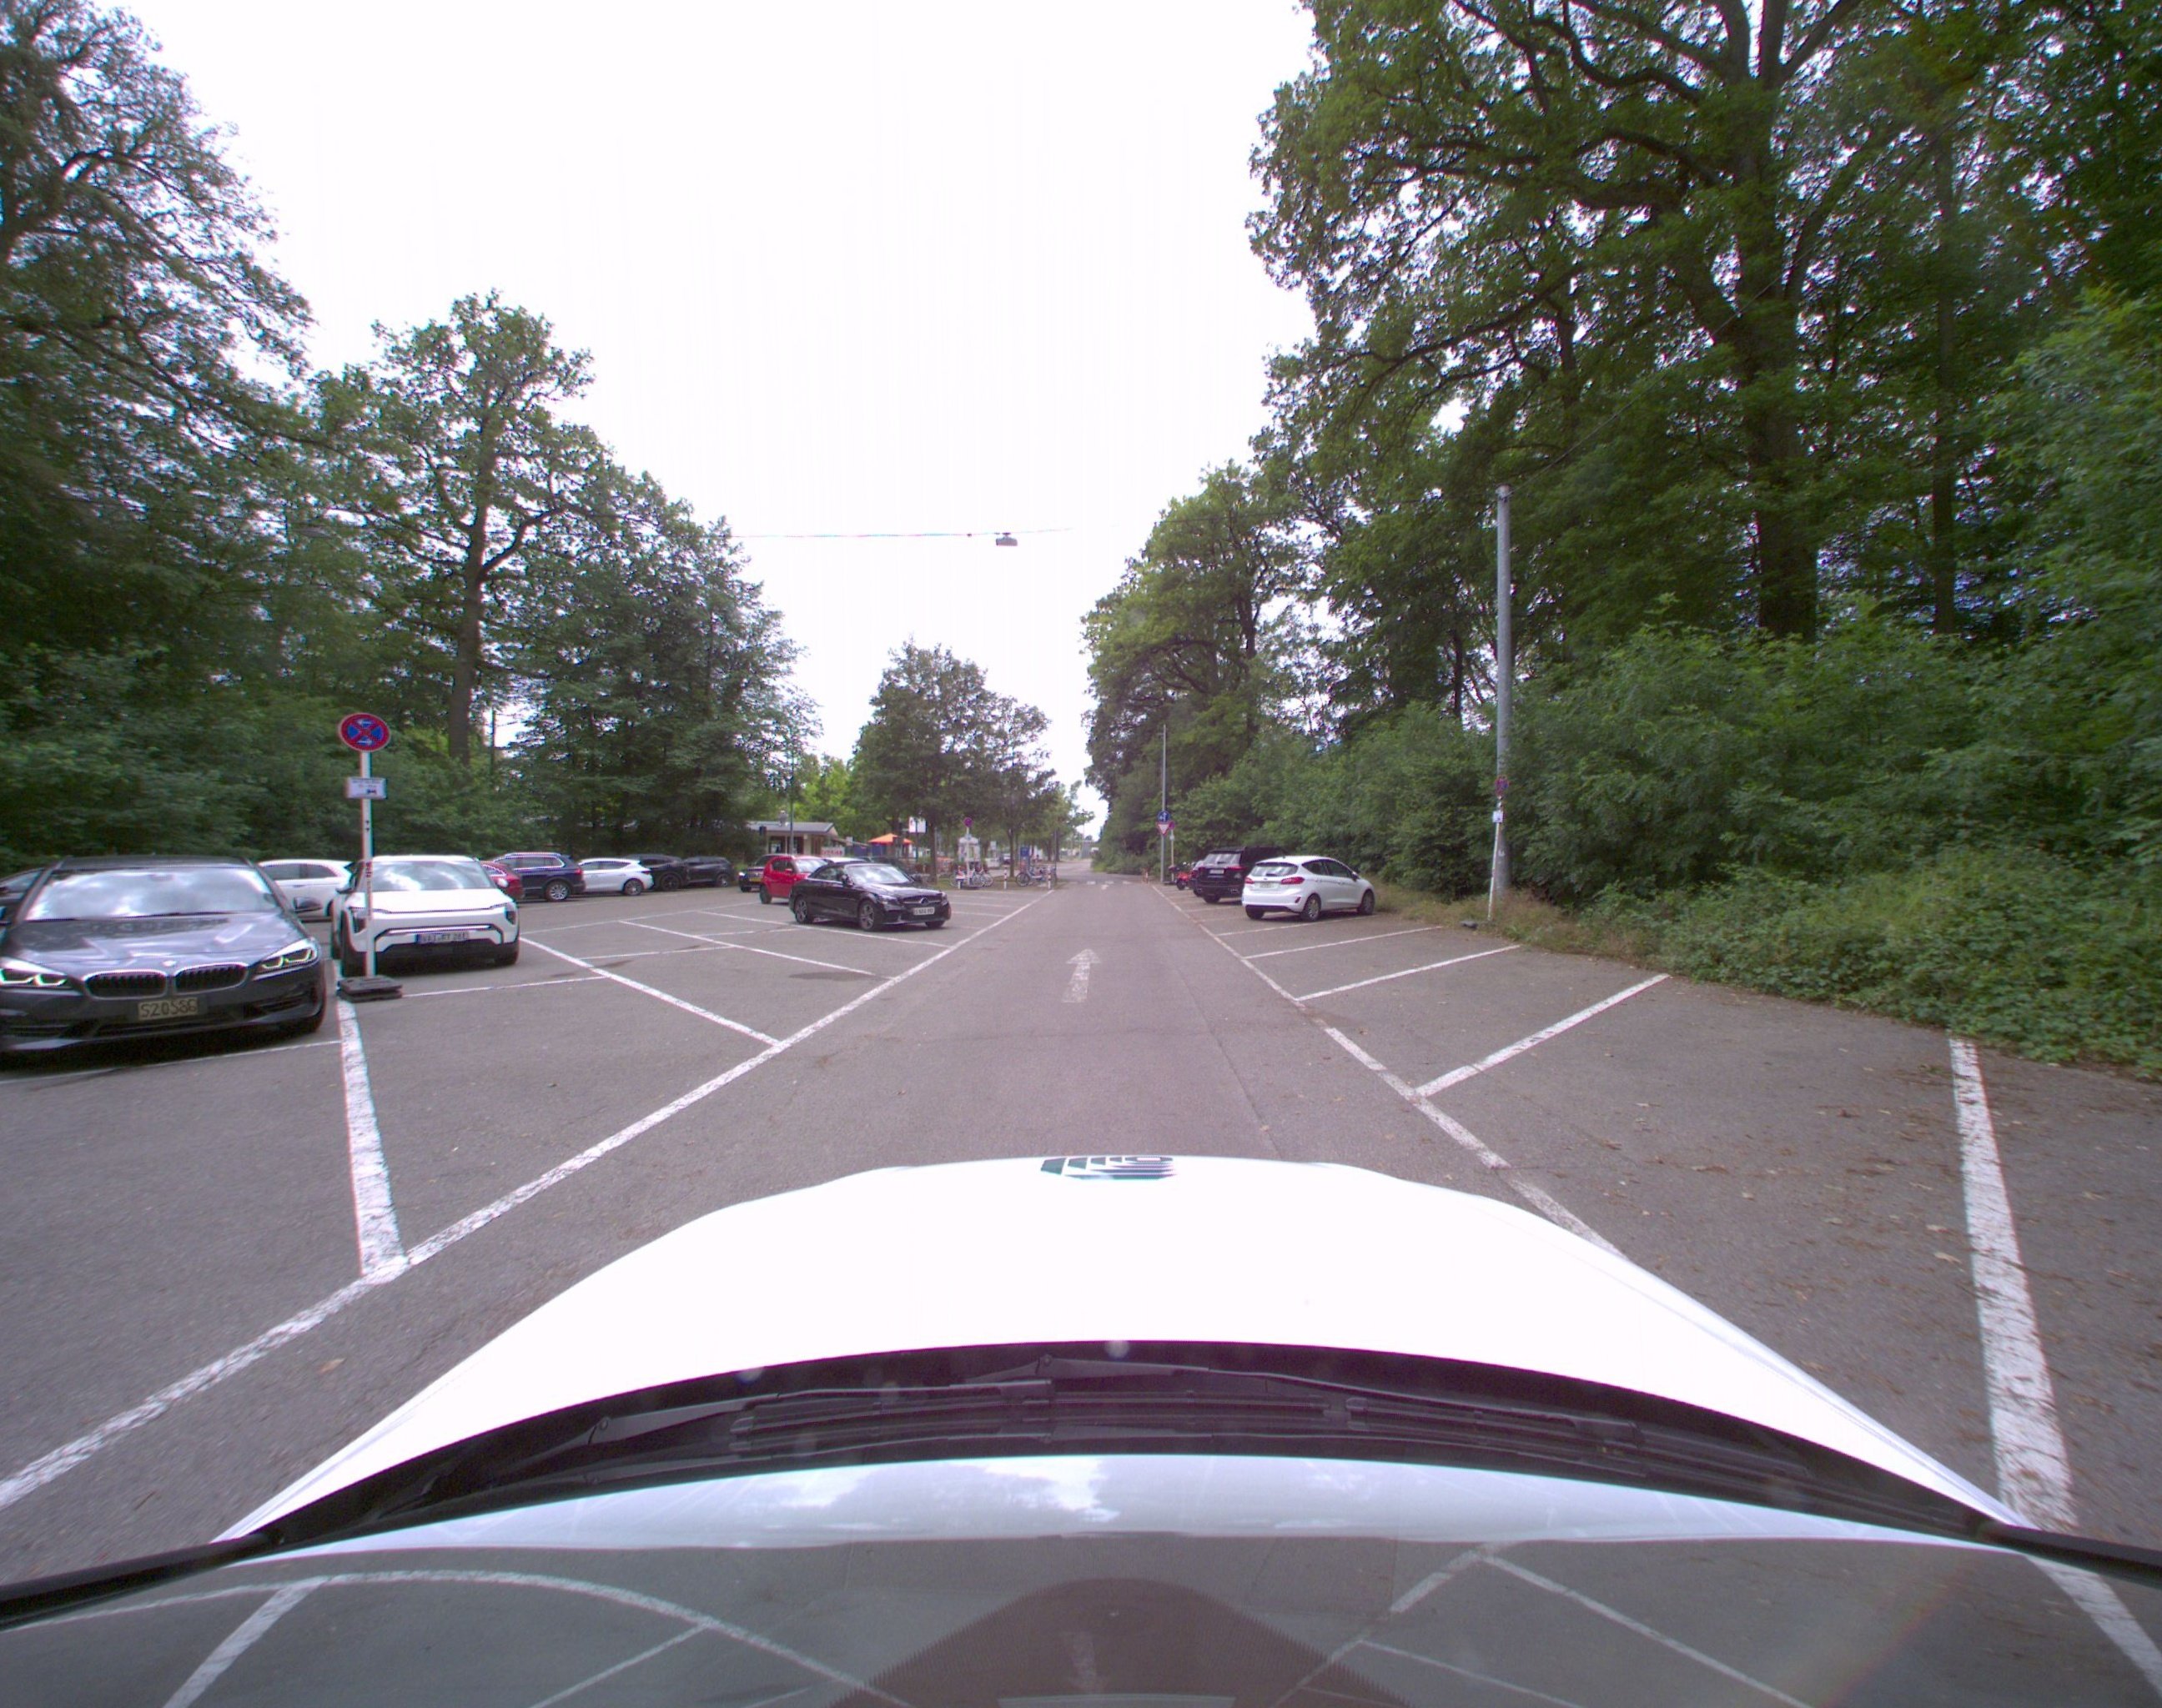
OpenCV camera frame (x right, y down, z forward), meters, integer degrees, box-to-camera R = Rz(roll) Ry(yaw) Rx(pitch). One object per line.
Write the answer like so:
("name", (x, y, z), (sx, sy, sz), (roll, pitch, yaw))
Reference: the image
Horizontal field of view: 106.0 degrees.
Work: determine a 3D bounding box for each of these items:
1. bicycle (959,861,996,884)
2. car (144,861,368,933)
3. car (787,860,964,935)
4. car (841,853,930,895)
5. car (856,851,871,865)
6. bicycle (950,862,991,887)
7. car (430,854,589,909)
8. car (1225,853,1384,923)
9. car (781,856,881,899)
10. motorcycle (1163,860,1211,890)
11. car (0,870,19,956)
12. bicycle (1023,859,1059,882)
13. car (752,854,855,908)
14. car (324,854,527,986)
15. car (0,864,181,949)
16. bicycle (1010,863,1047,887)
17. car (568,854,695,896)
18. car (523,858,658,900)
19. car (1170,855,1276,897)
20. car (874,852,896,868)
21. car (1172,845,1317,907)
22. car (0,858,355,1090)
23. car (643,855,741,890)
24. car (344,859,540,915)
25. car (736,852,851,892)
("bicycle", (-5.000, 0.889, 39.338), (1.671, 1.111, 0.483), (0, 0, 5))
("car", (-19.281, 0.938, 19.282), (3.601, 1.505, 1.714), (0, 0, -41))
("car", (-4.667, 0.860, 18.138), (4.262, 1.442, 1.880), (0, 0, 44))
("car", (-7.912, 0.749, 32.700), (1.840, 1.523, 4.052), (-1, 0, -41))
("car", (-30.317, 0.542, 113.423), (1.997, 2.013, 3.980), (0, 0, -15))
("bicycle", (-5.125, 0.959, 37.843), (1.774, 1.111, 0.483), (0, 0, 5))
("car", (-18.839, 0.844, 26.931), (4.141, 1.618, 1.820), (-1, 0, -40))
("car", (5.472, 0.733, 19.679), (4.022, 1.510, 1.847), (0, 0, -43))
("car", (-9.285, 0.815, 30.115), (3.950, 1.483, 1.888), (0, 0, 44))
("motorcycle", (4.474, 0.861, 34.445), (2.037, 1.207, 0.723), (-1, 0, -33))
("car", (-19.449, 0.983, 12.069), (1.941, 1.377, 4.288), (0, 0, 45))
("bicycle", (-1.967, 0.835, 40.269), (1.681, 1.111, 0.484), (0, 0, 10))
("car", (-8.948, 0.806, 26.147), (3.609, 1.585, 1.697), (0, 0, 44))
("car", (-9.737, 0.810, 11.982), (4.138, 1.596, 1.857), (0, 0, 44))
("car", (-19.819, 0.952, 15.001), (4.210, 1.457, 1.783), (0, 0, -43))
("bicycle", (-2.522, 1.009, 39.237), (1.670, 1.111, 0.507), (0, 0, 7))
("car", (-18.658, 0.822, 33.920), (1.933, 1.580, 4.228), (0, 0, 45))
("car", (-18.439, 0.889, 30.719), (4.141, 1.438, 1.848), (-1, 0, -40))
("car", (5.246, 0.746, 29.777), (4.022, 1.376, 1.719), (-1, 0, -43))
("car", (-20.074, 0.614, 83.565), (1.995, 1.552, 3.984), (0, 0, -12))
("car", (5.224, 0.616, 25.586), (4.735, 1.767, 2.087), (0, 0, -43))
("car", (-8.239, 0.818, 7.420), (3.949, 1.554, 1.885), (0, 0, 40))
("car", (-18.193, 0.834, 38.222), (3.814, 1.492, 1.679), (-1, 0, -44))
("car", (-18.319, 0.871, 23.552), (4.317, 1.414, 1.906), (-1, 0, -39))
("car", (-12.272, 0.725, 34.906), (1.933, 1.580, 4.228), (0, 0, 45))
